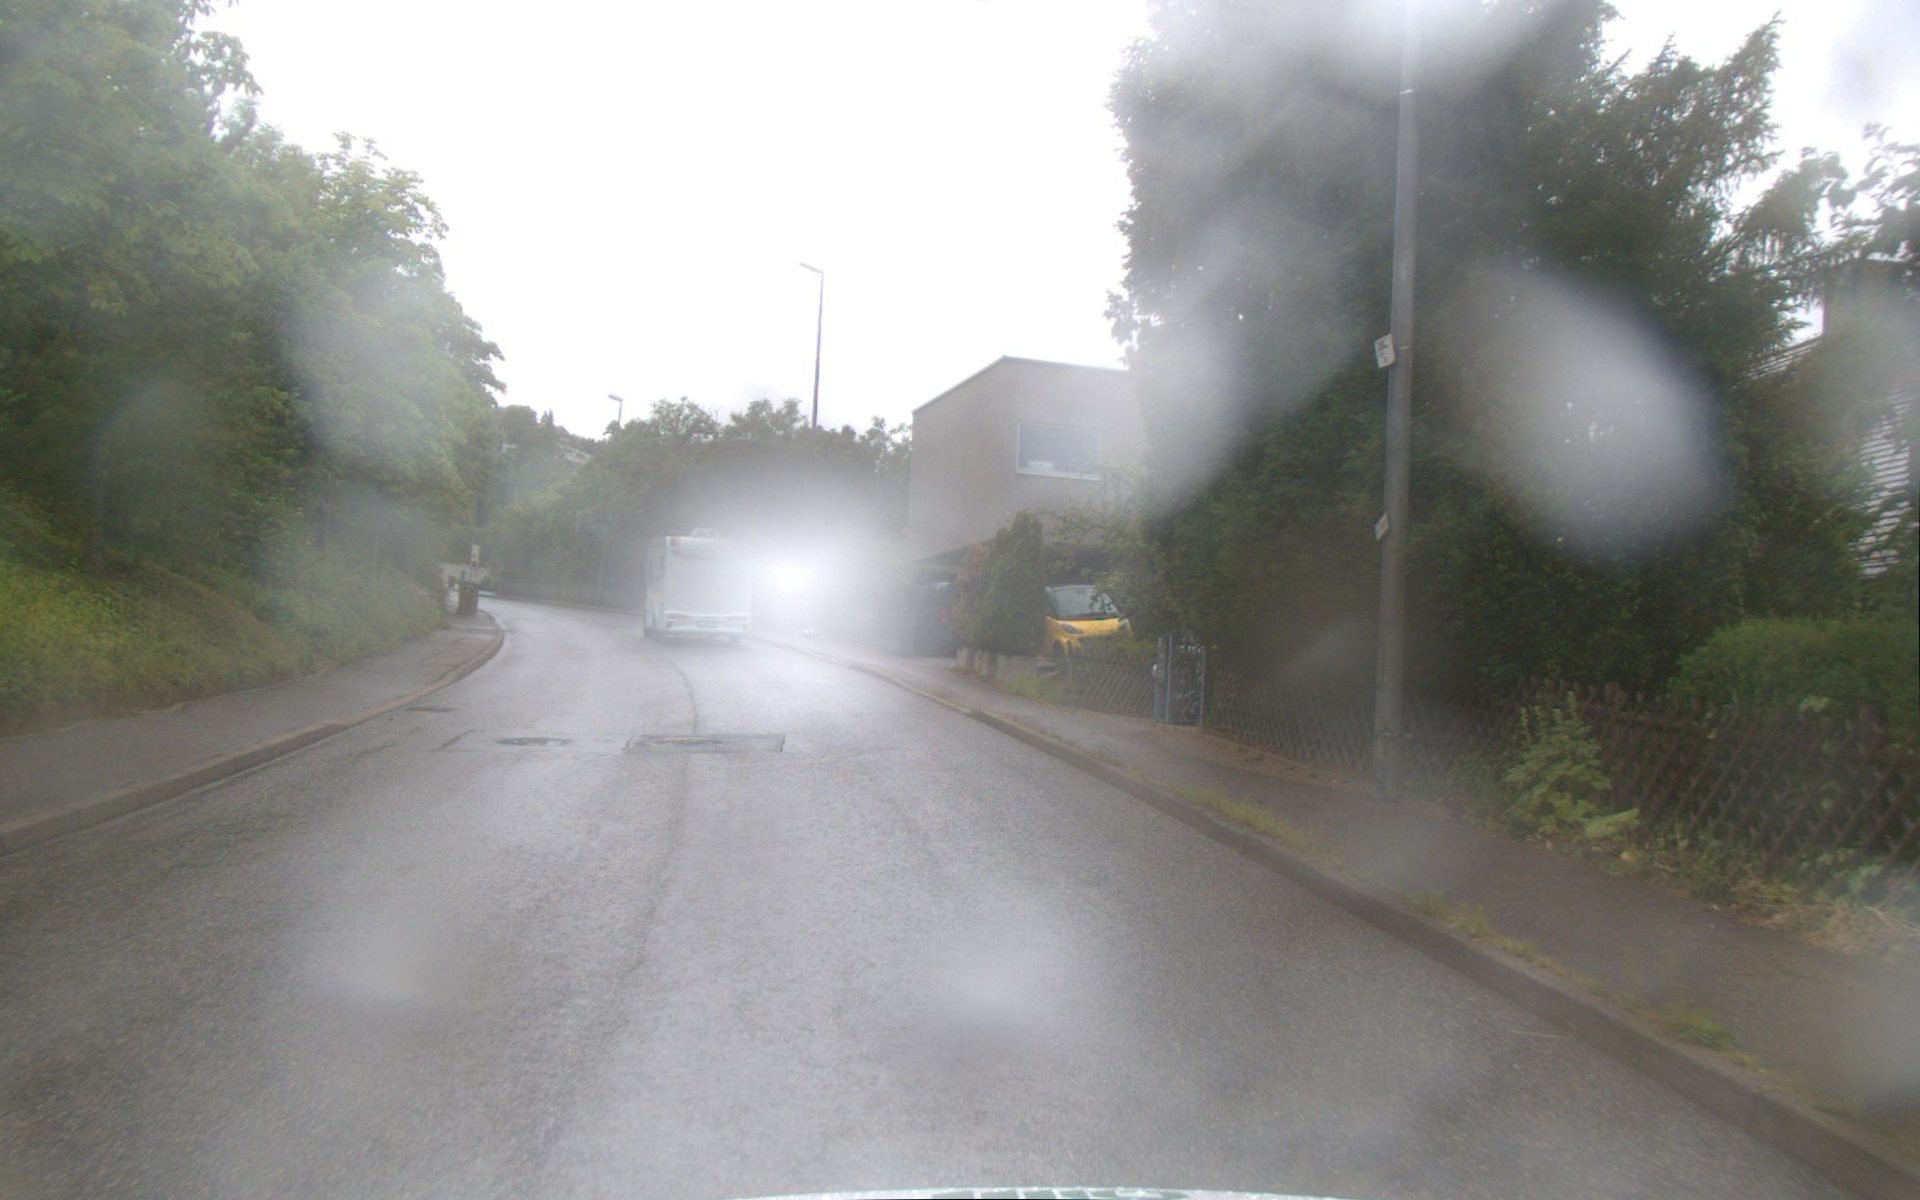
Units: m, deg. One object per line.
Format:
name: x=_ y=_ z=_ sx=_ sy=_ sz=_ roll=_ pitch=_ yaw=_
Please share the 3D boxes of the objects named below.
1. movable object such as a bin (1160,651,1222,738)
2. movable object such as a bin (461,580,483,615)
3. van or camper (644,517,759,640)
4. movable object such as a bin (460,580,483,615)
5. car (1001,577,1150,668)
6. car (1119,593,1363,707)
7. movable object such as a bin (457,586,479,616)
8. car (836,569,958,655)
movable object such as a bin: x=2.811 y=1.147 z=20.167 sx=0.496 sy=0.986 sz=0.593 roll=5 pitch=-1 yaw=-12
movable object such as a bin: x=-16.173 y=-0.087 z=54.772 sx=0.638 sy=1.123 sz=0.670 roll=3 pitch=0 yaw=-18
van or camper: x=-6.883 y=-0.510 z=43.538 sx=2.496 sy=2.976 sz=5.927 roll=1 pitch=-1 yaw=-13
movable object such as a bin: x=-15.942 y=-0.077 z=53.985 sx=0.638 sy=1.099 sz=0.670 roll=3 pitch=0 yaw=-18
car: x=2.117 y=0.405 z=31.295 sx=1.603 sy=1.519 sz=3.409 roll=-4 pitch=1 yaw=-18
car: x=4.494 y=0.831 z=26.333 sx=3.731 sy=1.690 sz=1.754 roll=2 pitch=-4 yaw=-36
movable object such as a bin: x=-15.814 y=0.029 z=53.192 sx=0.638 sy=0.927 sz=0.670 roll=3 pitch=0 yaw=-18
car: x=-1.662 y=0.371 z=41.793 sx=1.961 sy=1.975 sz=4.750 roll=2 pitch=-3 yaw=-16
